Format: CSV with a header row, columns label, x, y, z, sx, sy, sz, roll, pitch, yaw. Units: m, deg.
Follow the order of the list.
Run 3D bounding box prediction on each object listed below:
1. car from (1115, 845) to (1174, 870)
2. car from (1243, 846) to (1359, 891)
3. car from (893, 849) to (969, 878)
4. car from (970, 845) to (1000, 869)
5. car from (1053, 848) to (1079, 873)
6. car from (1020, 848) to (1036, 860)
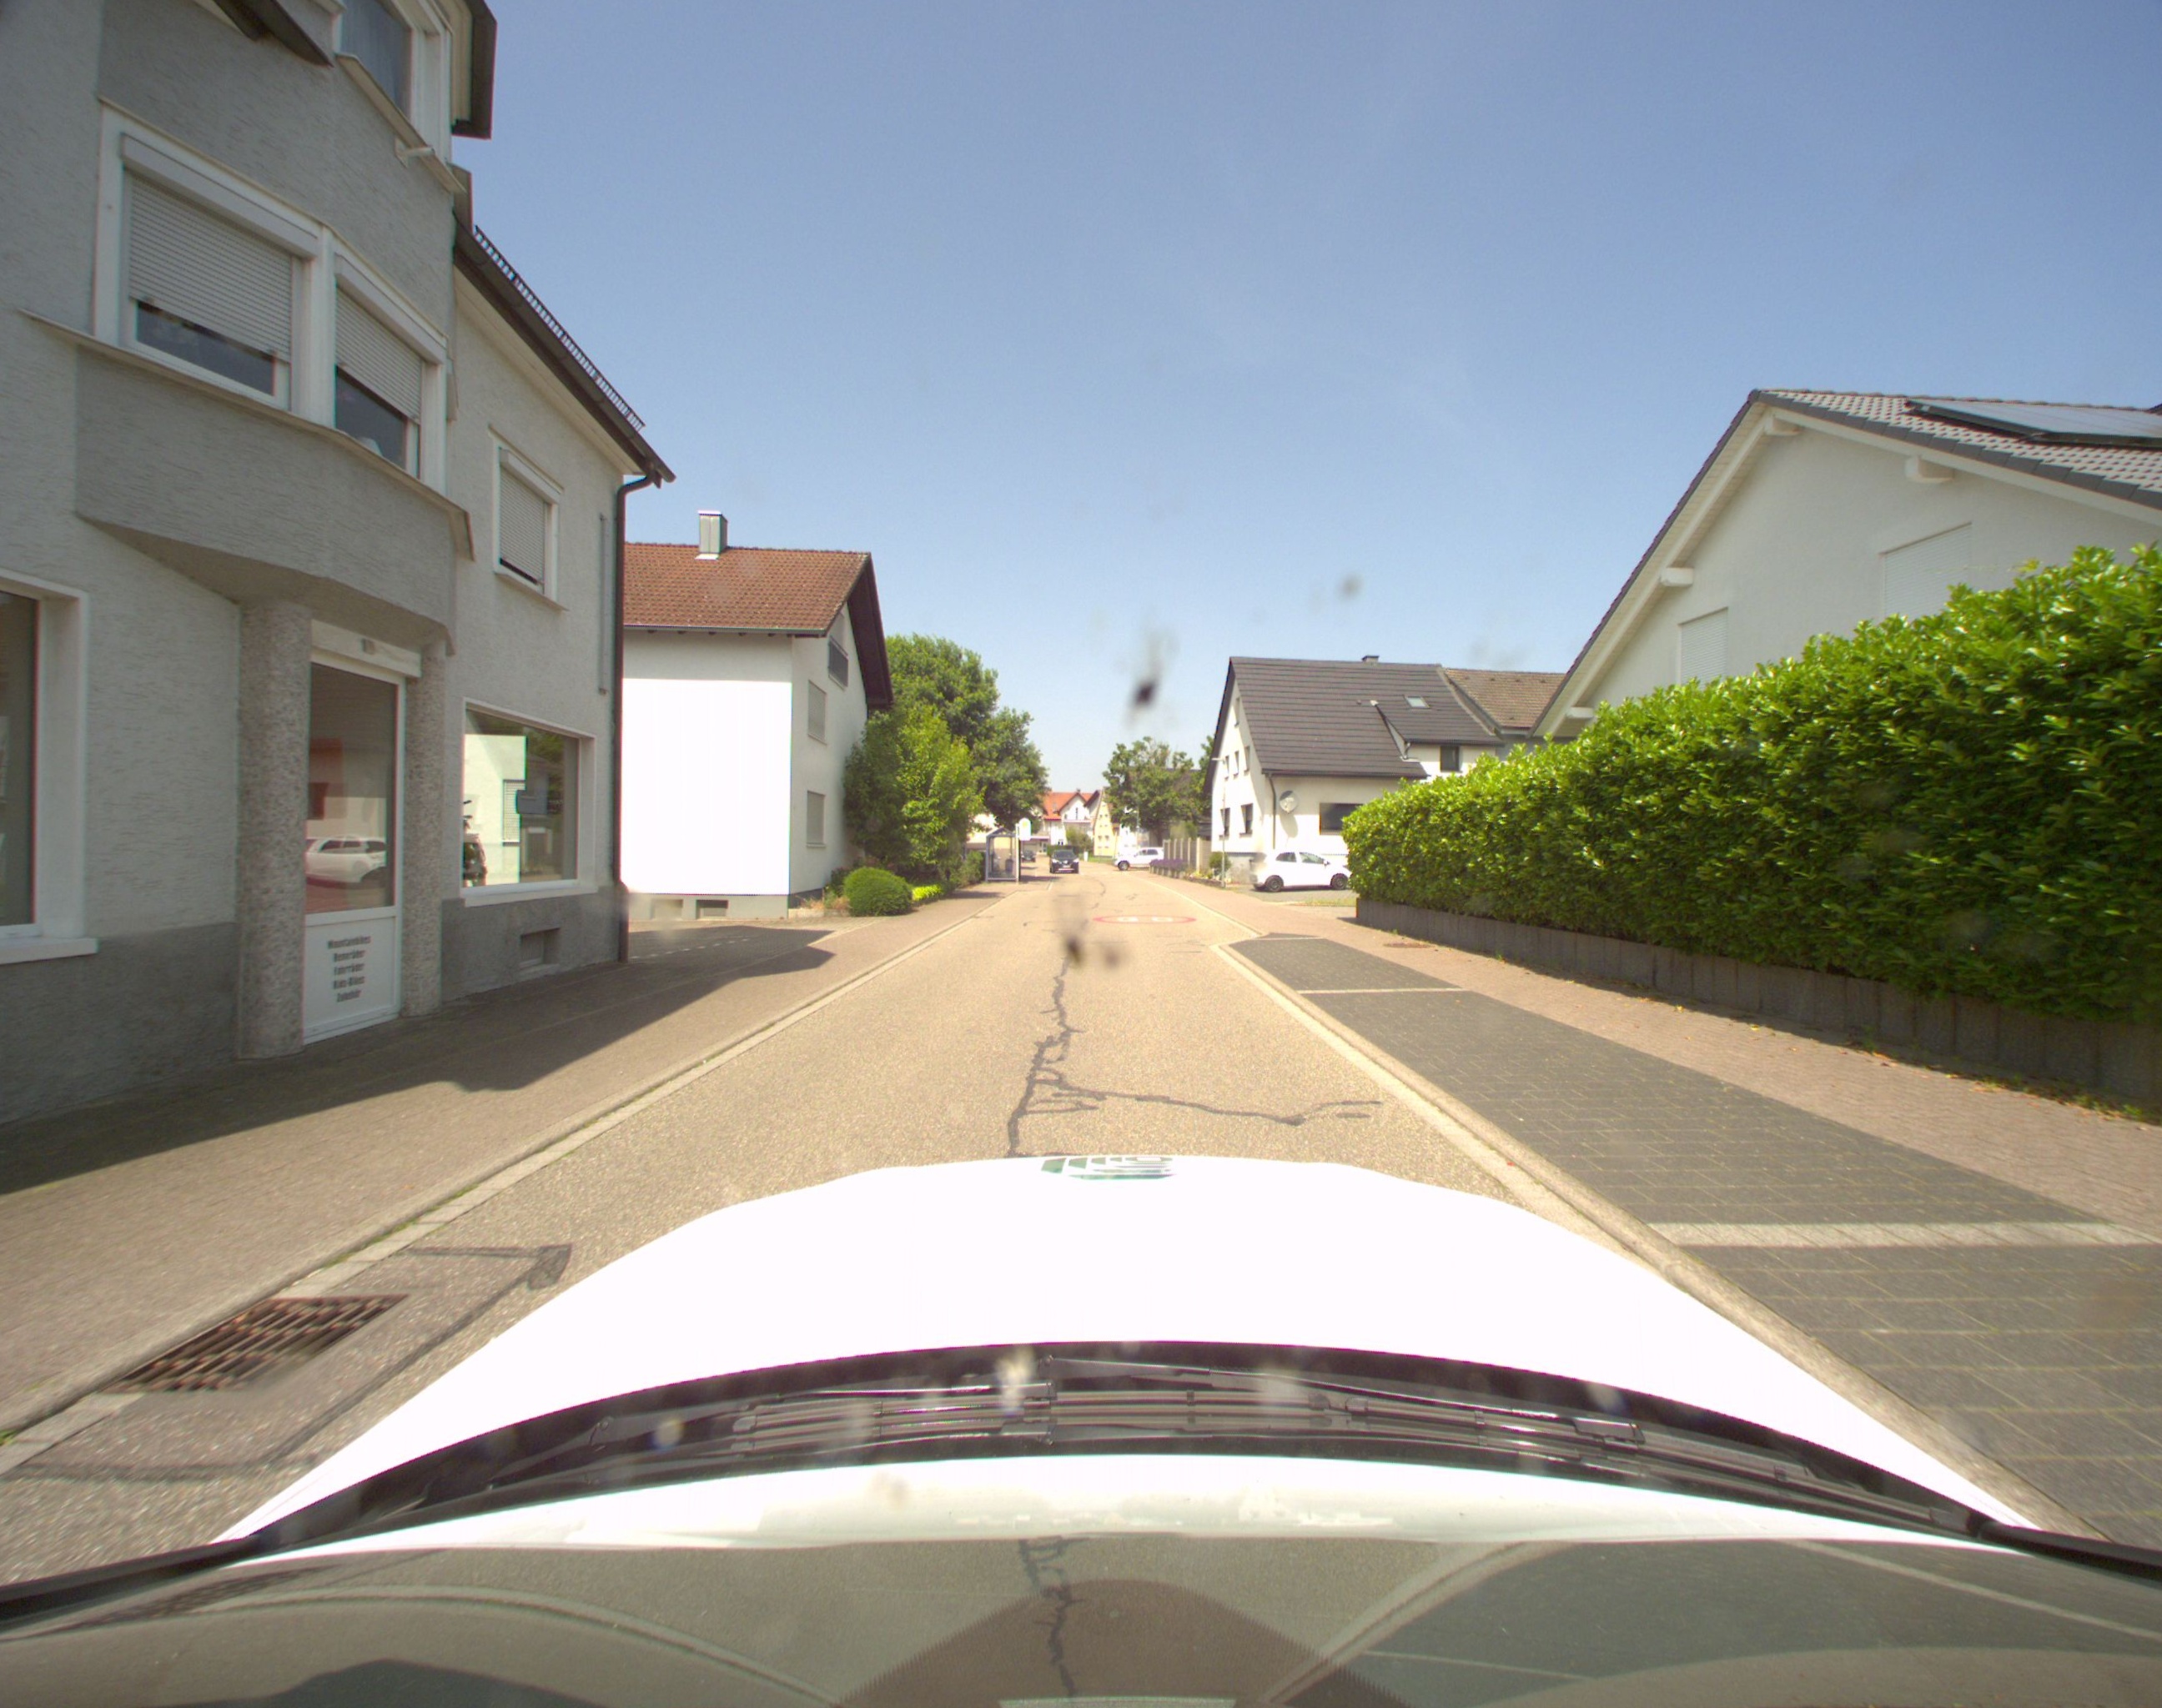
label,x,y,z,sx,sy,sz,roll,pitch,yaw
car,4.758,0.237,61.646,4.304,1.767,1.891,-1,-1,-1
car,7.850,0.484,29.229,3.653,1.474,1.762,-1,1,-7
car,-8.816,0.540,48.094,4.152,1.538,1.771,-1,1,-4
car,-6.157,0.153,52.701,1.776,1.434,4.048,1,1,-5
car,-1.063,0.418,56.033,1.771,1.623,4.102,0,0,-2
car,-6.388,-0.022,97.804,1.625,1.486,3.989,-1,1,-8
